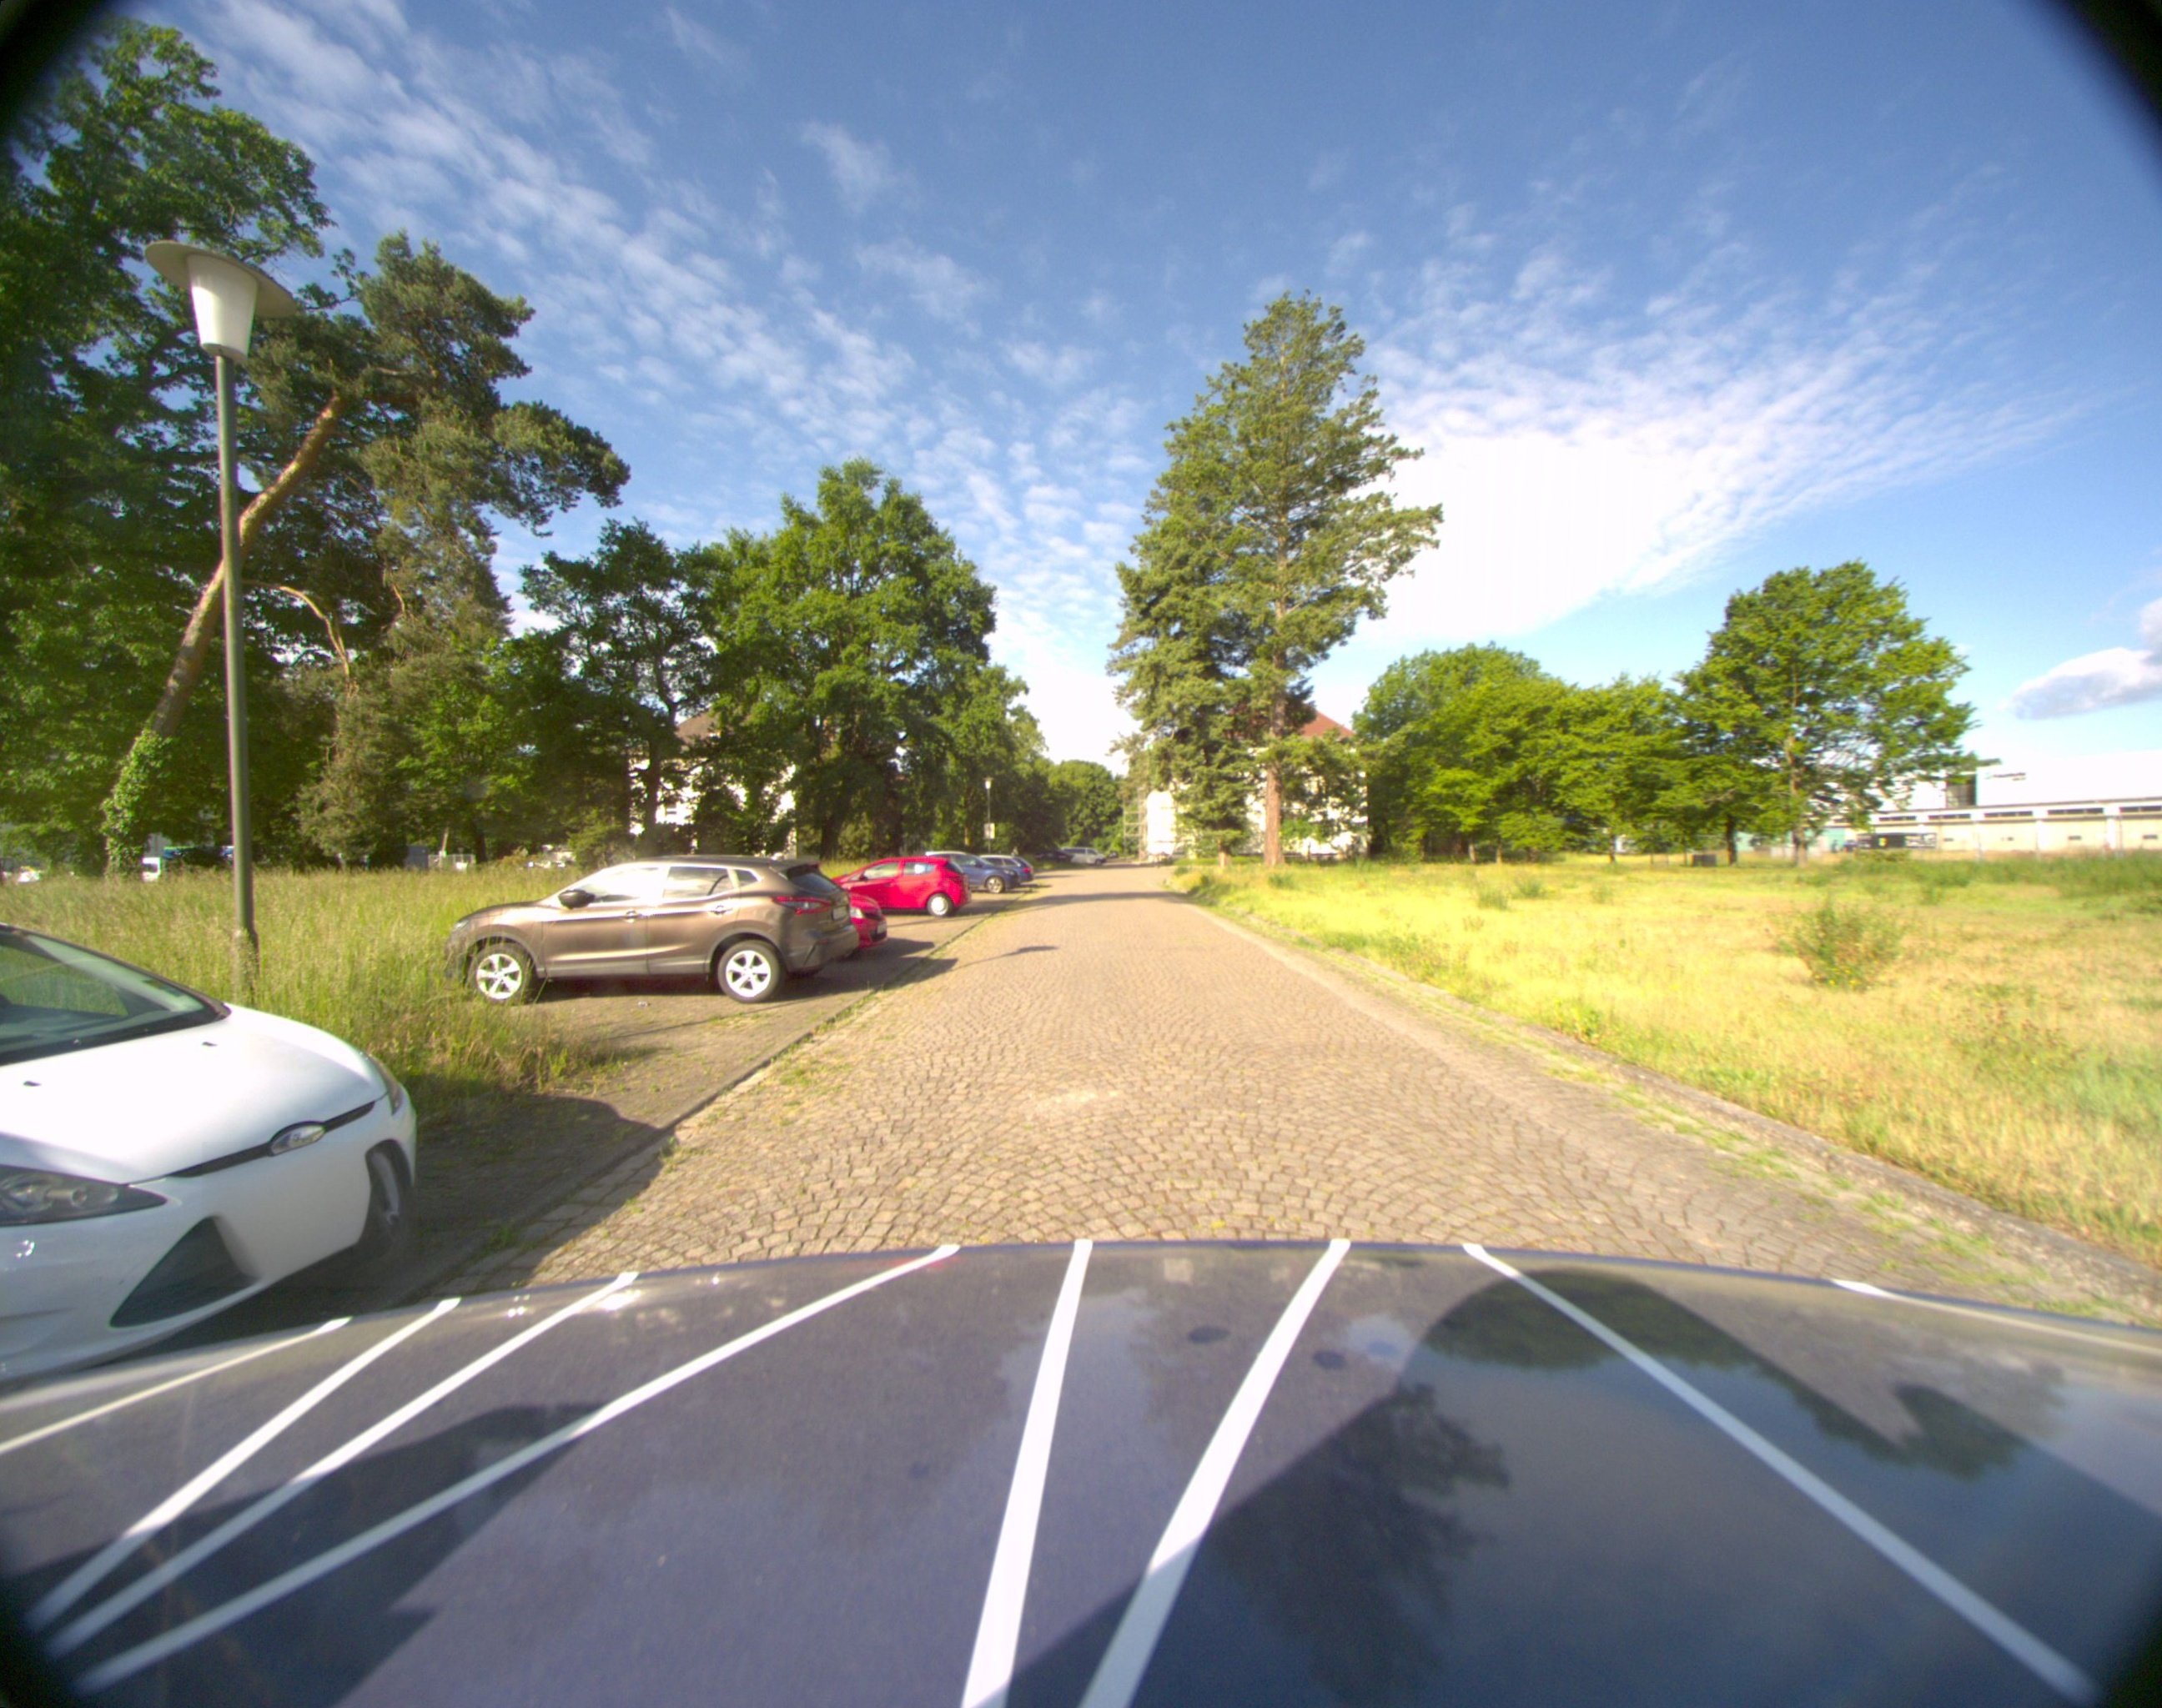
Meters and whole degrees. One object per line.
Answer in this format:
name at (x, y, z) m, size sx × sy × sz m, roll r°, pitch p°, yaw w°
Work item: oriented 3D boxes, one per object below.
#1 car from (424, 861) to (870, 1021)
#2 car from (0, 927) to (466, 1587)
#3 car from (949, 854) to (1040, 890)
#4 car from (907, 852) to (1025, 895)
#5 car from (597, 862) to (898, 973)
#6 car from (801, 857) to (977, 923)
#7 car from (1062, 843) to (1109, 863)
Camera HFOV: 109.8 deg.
car at (-4.760, 0.913, 8.813) m, size 4.117 × 1.602 × 1.786 m, roll 0°, pitch 1°, yaw -1°
car at (-4.518, 1.047, 2.444) m, size 3.730 × 1.458 × 1.609 m, roll 0°, pitch 1°, yaw -1°
car at (-3.843, 0.795, 34.081) m, size 3.809 × 1.458 × 1.747 m, roll -1°, pitch 1°, yaw 2°
car at (-4.384, 0.722, 29.361) m, size 4.273 × 1.589 × 1.651 m, roll 0°, pitch 1°, yaw 0°
car at (-4.937, 0.911, 11.618) m, size 3.834 × 1.530 × 1.703 m, roll 0°, pitch 1°, yaw 1°
car at (-4.744, 0.870, 19.109) m, size 3.997 × 1.487 × 1.540 m, roll -1°, pitch 1°, yaw 0°
car at (0.459, -0.108, 82.913) m, size 4.993 × 2.123 × 2.164 m, roll -1°, pitch 1°, yaw -1°
